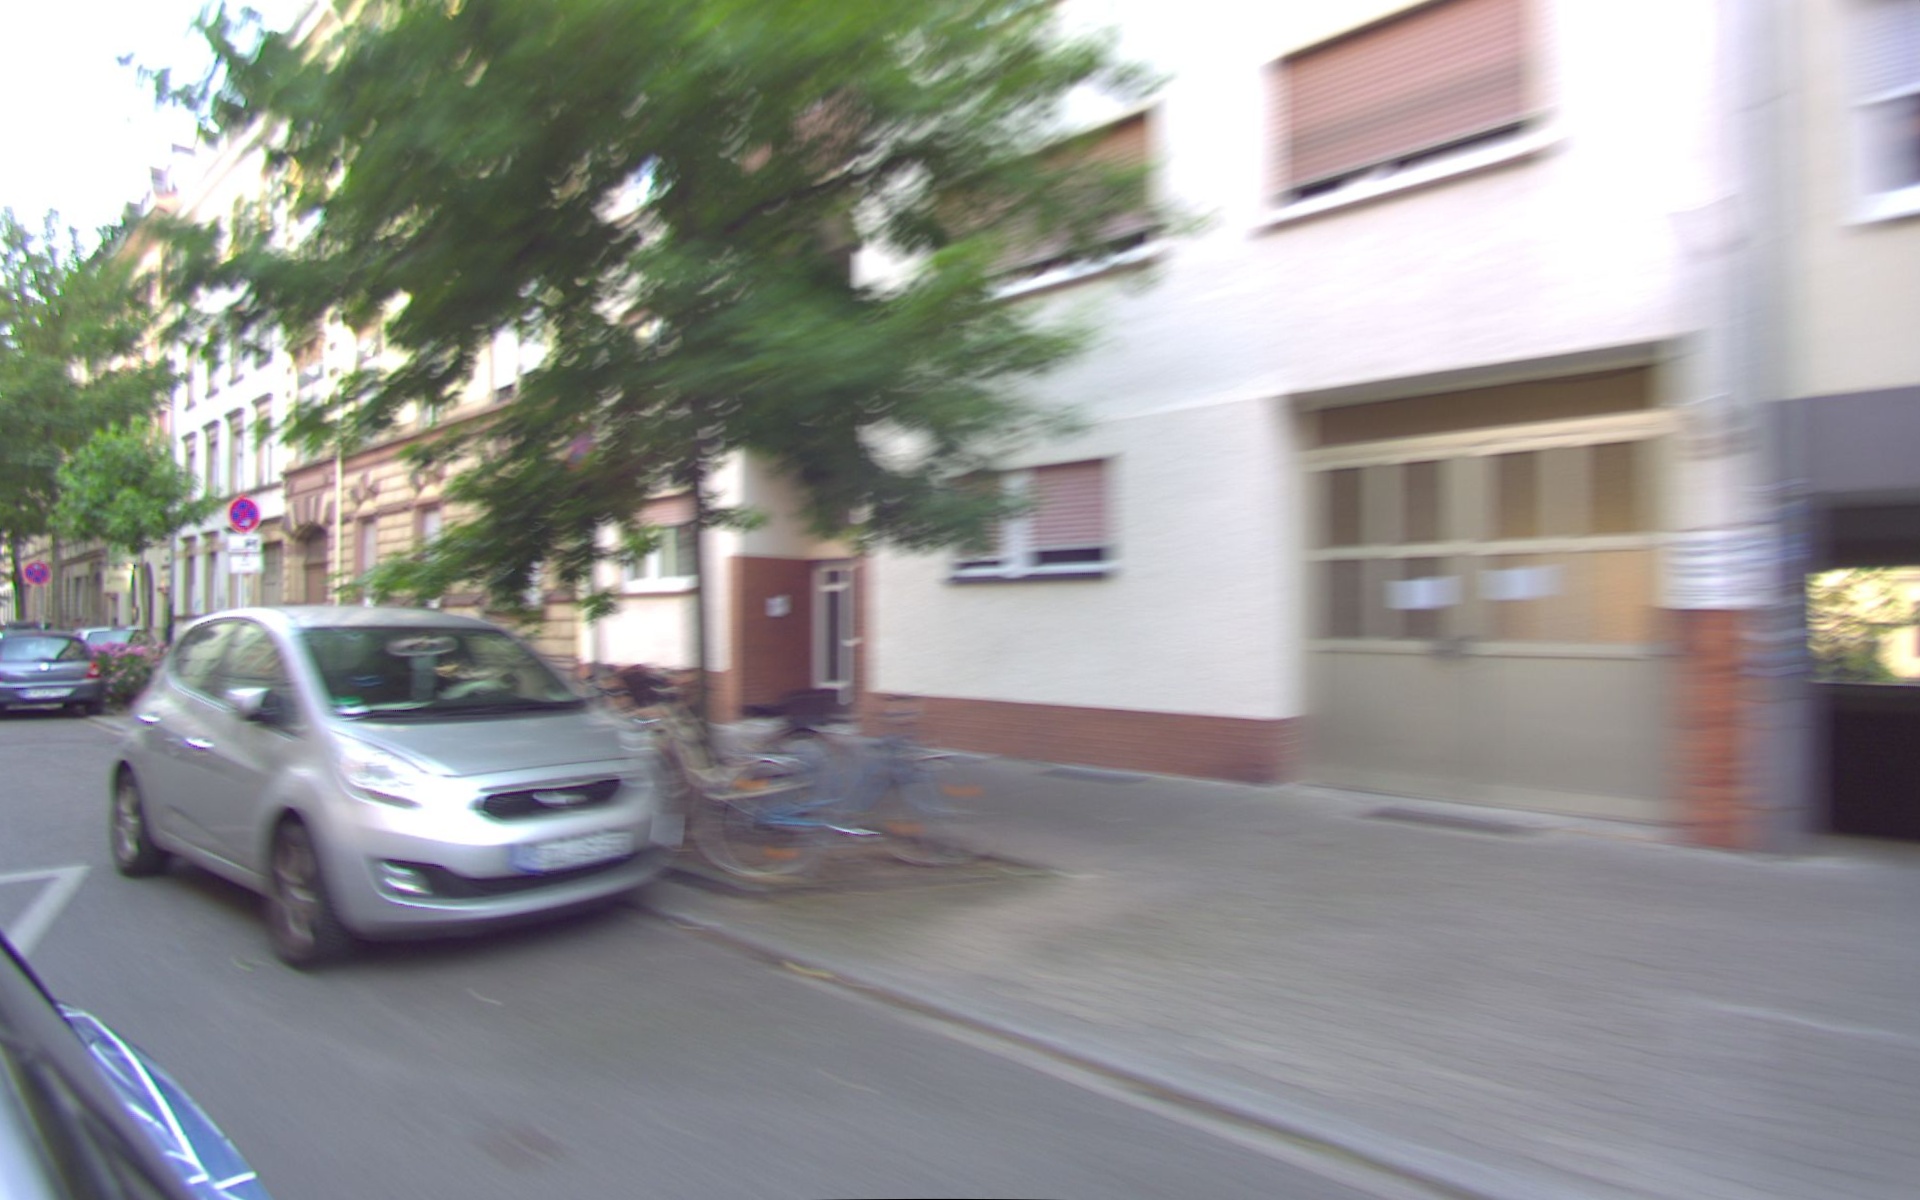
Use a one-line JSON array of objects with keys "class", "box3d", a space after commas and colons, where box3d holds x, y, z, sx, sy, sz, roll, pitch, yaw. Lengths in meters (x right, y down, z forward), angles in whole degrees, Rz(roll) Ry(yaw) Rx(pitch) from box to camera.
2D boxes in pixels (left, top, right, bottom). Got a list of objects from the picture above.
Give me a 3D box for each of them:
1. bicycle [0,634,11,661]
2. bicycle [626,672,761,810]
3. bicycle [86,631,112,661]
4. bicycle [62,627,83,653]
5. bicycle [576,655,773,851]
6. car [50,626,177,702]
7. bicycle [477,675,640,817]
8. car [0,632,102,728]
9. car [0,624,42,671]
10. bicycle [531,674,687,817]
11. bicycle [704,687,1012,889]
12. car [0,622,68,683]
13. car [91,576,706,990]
[{"class": "bicycle", "box3d": [-37.255, 1.876, 38.481, 0.430, 1.011, 1.666, -2, 2, 42]}, {"class": "bicycle", "box3d": [-2.141, 1.100, 8.321, 0.379, 0.905, 1.659, -1, 0, 11]}, {"class": "bicycle", "box3d": [-32.885, 1.732, 38.631, 1.794, 1.106, 0.520, -1, -1, 42]}, {"class": "bicycle", "box3d": [-38.495, 1.728, 43.883, 1.629, 1.098, 0.456, -3, 1, 42]}, {"class": "bicycle", "box3d": [-1.945, 0.953, 6.761, 1.664, 1.112, 0.415, -1, 0, 41]}, {"class": "car", "box3d": [-18.478, 1.330, 22.053, 3.564, 1.447, 1.571, -1, 0, 41]}, {"class": "bicycle", "box3d": [-3.213, 1.133, 8.260, 0.379, 0.914, 1.698, -1, 0, 11]}, {"class": "car", "box3d": [-15.893, 1.281, 17.103, 3.751, 1.431, 1.564, -1, -2, 41]}, {"class": "car", "box3d": [-33.389, 1.619, 35.064, 4.683, 1.529, 1.787, -1, 0, 41]}, {"class": "bicycle", "box3d": [-2.770, 1.112, 8.159, 0.379, 0.905, 1.698, -1, 0, 11]}, {"class": "bicycle", "box3d": [-0.602, 1.040, 5.879, 1.702, 1.002, 0.578, 0, -2, -15]}, {"class": "car", "box3d": [-26.961, 1.471, 28.958, 4.077, 1.592, 1.688, -2, 0, 42]}, {"class": "car", "box3d": [-3.365, 0.740, 5.757, 3.995, 1.575, 1.647, -1, -2, 38]}]
